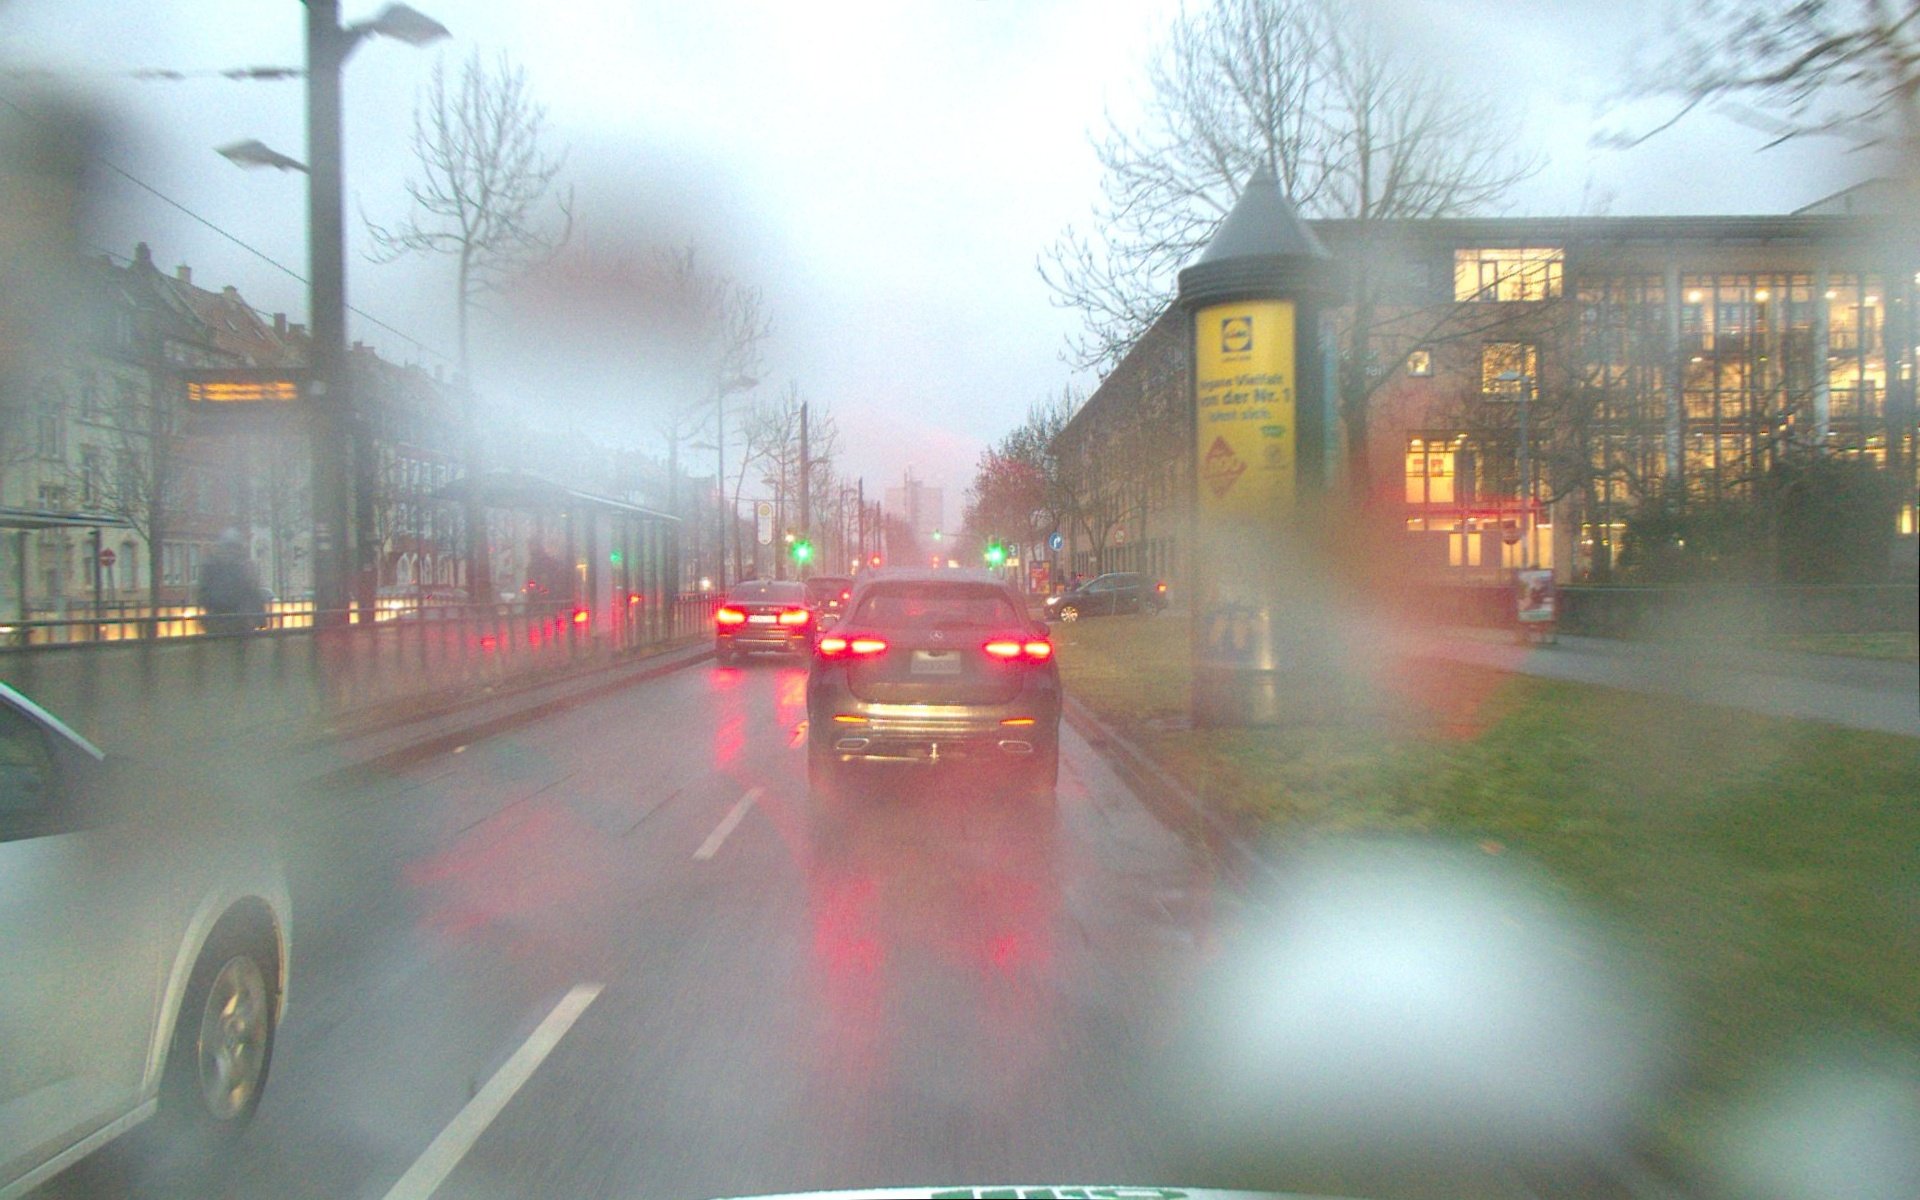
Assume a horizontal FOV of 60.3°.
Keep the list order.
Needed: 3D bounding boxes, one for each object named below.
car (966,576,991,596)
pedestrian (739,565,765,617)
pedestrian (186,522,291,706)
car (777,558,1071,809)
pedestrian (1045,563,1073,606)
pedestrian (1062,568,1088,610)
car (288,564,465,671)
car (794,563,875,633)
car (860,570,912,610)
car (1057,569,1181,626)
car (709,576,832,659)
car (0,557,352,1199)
[{"bbox_3d":[1.593,-1.229,143.399,1.953,1.626,3.999,-2,1,-1],"label":"car"},{"bbox_3d":[-6.368,-0.277,50.756,0.684,1.579,0.668,-1,0,-1],"label":"pedestrian"},{"bbox_3d":[-6.576,0.125,15.113,0.697,1.634,0.745,0,0,-9],"label":"pedestrian"},{"bbox_3d":[-0.286,0.535,13.146,1.950,1.644,3.999,-1,1,-2],"label":"car"},{"bbox_3d":[3.756,-0.589,62.752,0.888,1.624,0.499,-1,1,41],"label":"pedestrian"},{"bbox_3d":[4.527,-0.442,65.158,0.888,1.624,0.499,-1,1,41],"label":"pedestrian"},{"bbox_3d":[-11.041,0.294,31.597,1.953,1.854,3.999,-2,1,-1],"label":"car"},{"bbox_3d":[-3.408,-0.077,45.617,1.953,1.796,3.999,-1,1,-1],"label":"car"},{"bbox_3d":[-3.196,-0.449,72.334,1.952,1.646,4.001,-1,1,1],"label":"car"},{"bbox_3d":[5.116,-0.090,53.482,3.781,1.587,1.765,-4,1,0],"label":"car"},{"bbox_3d":[-3.502,0.280,31.206,1.953,1.422,3.999,-1,1,-2],"label":"car"},{"bbox_3d":[-2.602,0.697,2.948,1.593,1.513,3.999,-1,1,-1],"label":"car"}]
